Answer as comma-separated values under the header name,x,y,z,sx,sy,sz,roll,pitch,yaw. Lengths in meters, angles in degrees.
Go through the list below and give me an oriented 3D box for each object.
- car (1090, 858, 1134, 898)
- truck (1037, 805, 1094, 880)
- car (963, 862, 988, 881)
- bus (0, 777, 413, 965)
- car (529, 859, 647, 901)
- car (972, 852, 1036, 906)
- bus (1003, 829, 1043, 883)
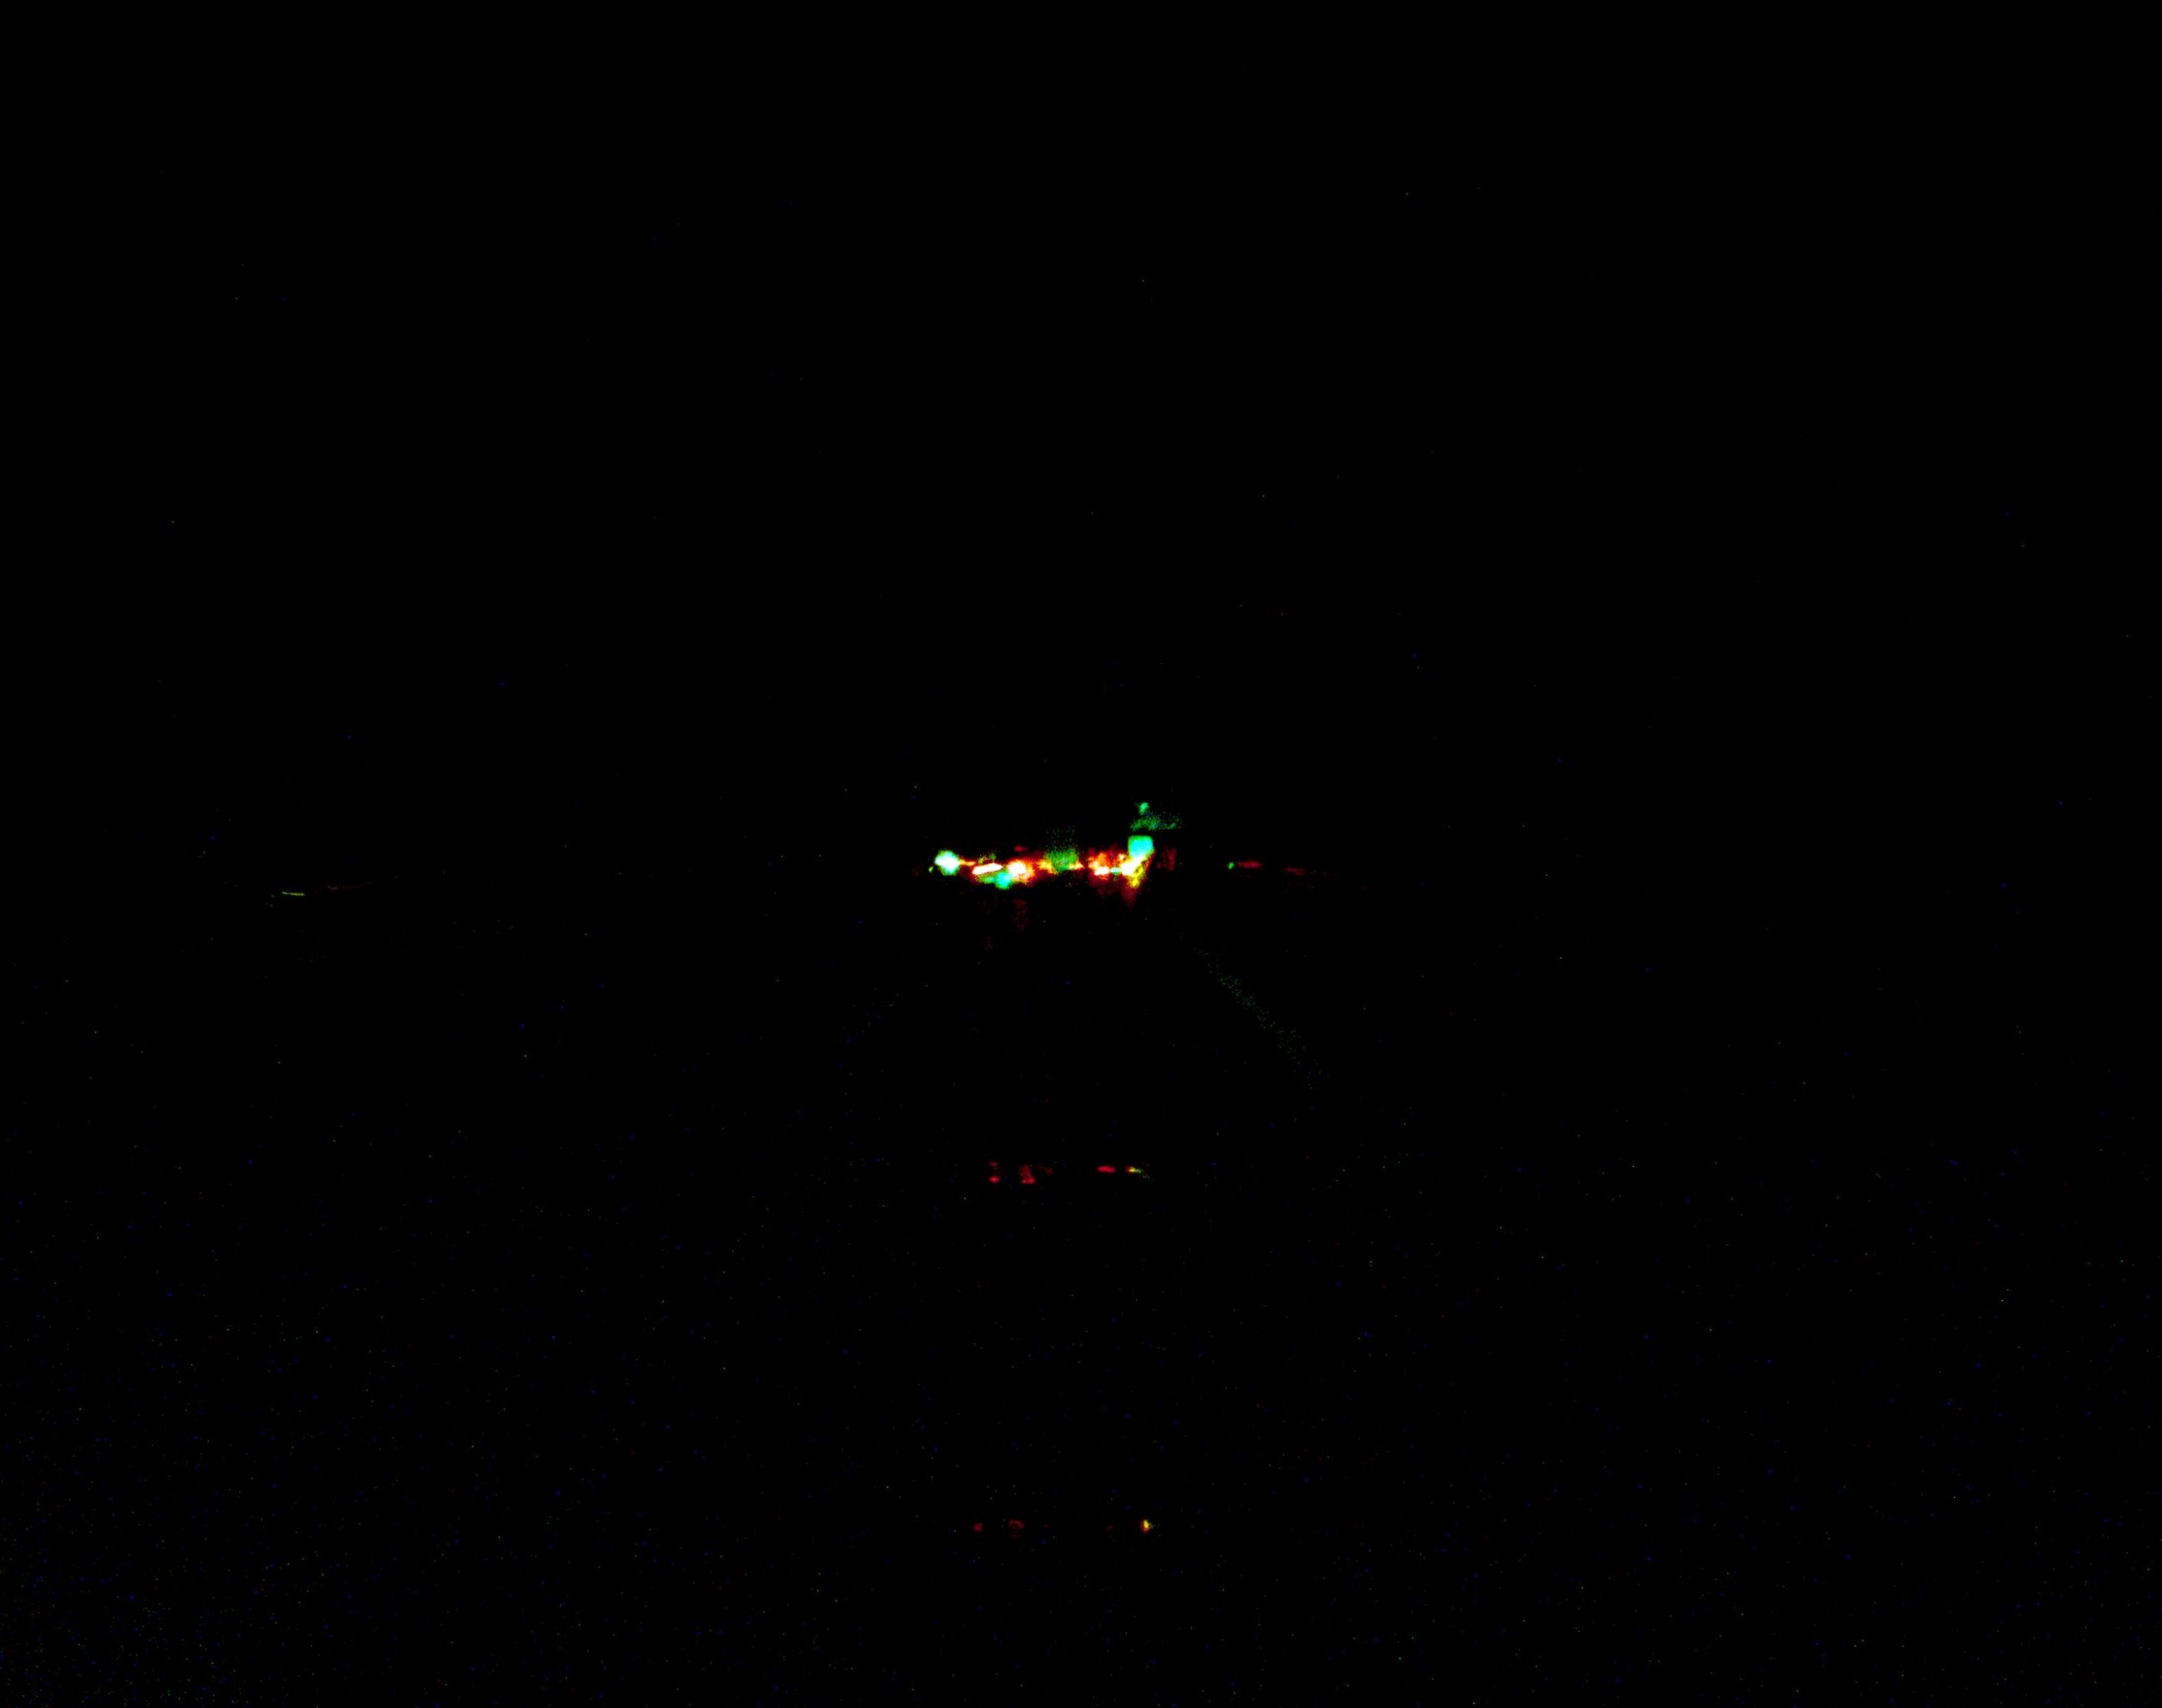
name,x,y,z,sx,sy,sz,roll,pitch,yaw
car,1.494,1.100,38.961,1.986,1.807,4.002,0,0,2
truck,-1.060,-0.817,66.988,4.195,5.648,11.470,0,0,1
car,-9.353,1.520,72.151,1.990,1.596,3.993,0,0,-5
bus,-27.241,0.432,22.438,3.062,4.490,17.020,0,0,2
car,-19.537,0.980,32.522,1.873,1.557,4.462,0,0,1
car,-2.988,0.948,32.655,2.119,2.014,4.644,0,0,0
bus,-5.069,0.220,73.537,3.088,4.508,10.906,0,0,-1
